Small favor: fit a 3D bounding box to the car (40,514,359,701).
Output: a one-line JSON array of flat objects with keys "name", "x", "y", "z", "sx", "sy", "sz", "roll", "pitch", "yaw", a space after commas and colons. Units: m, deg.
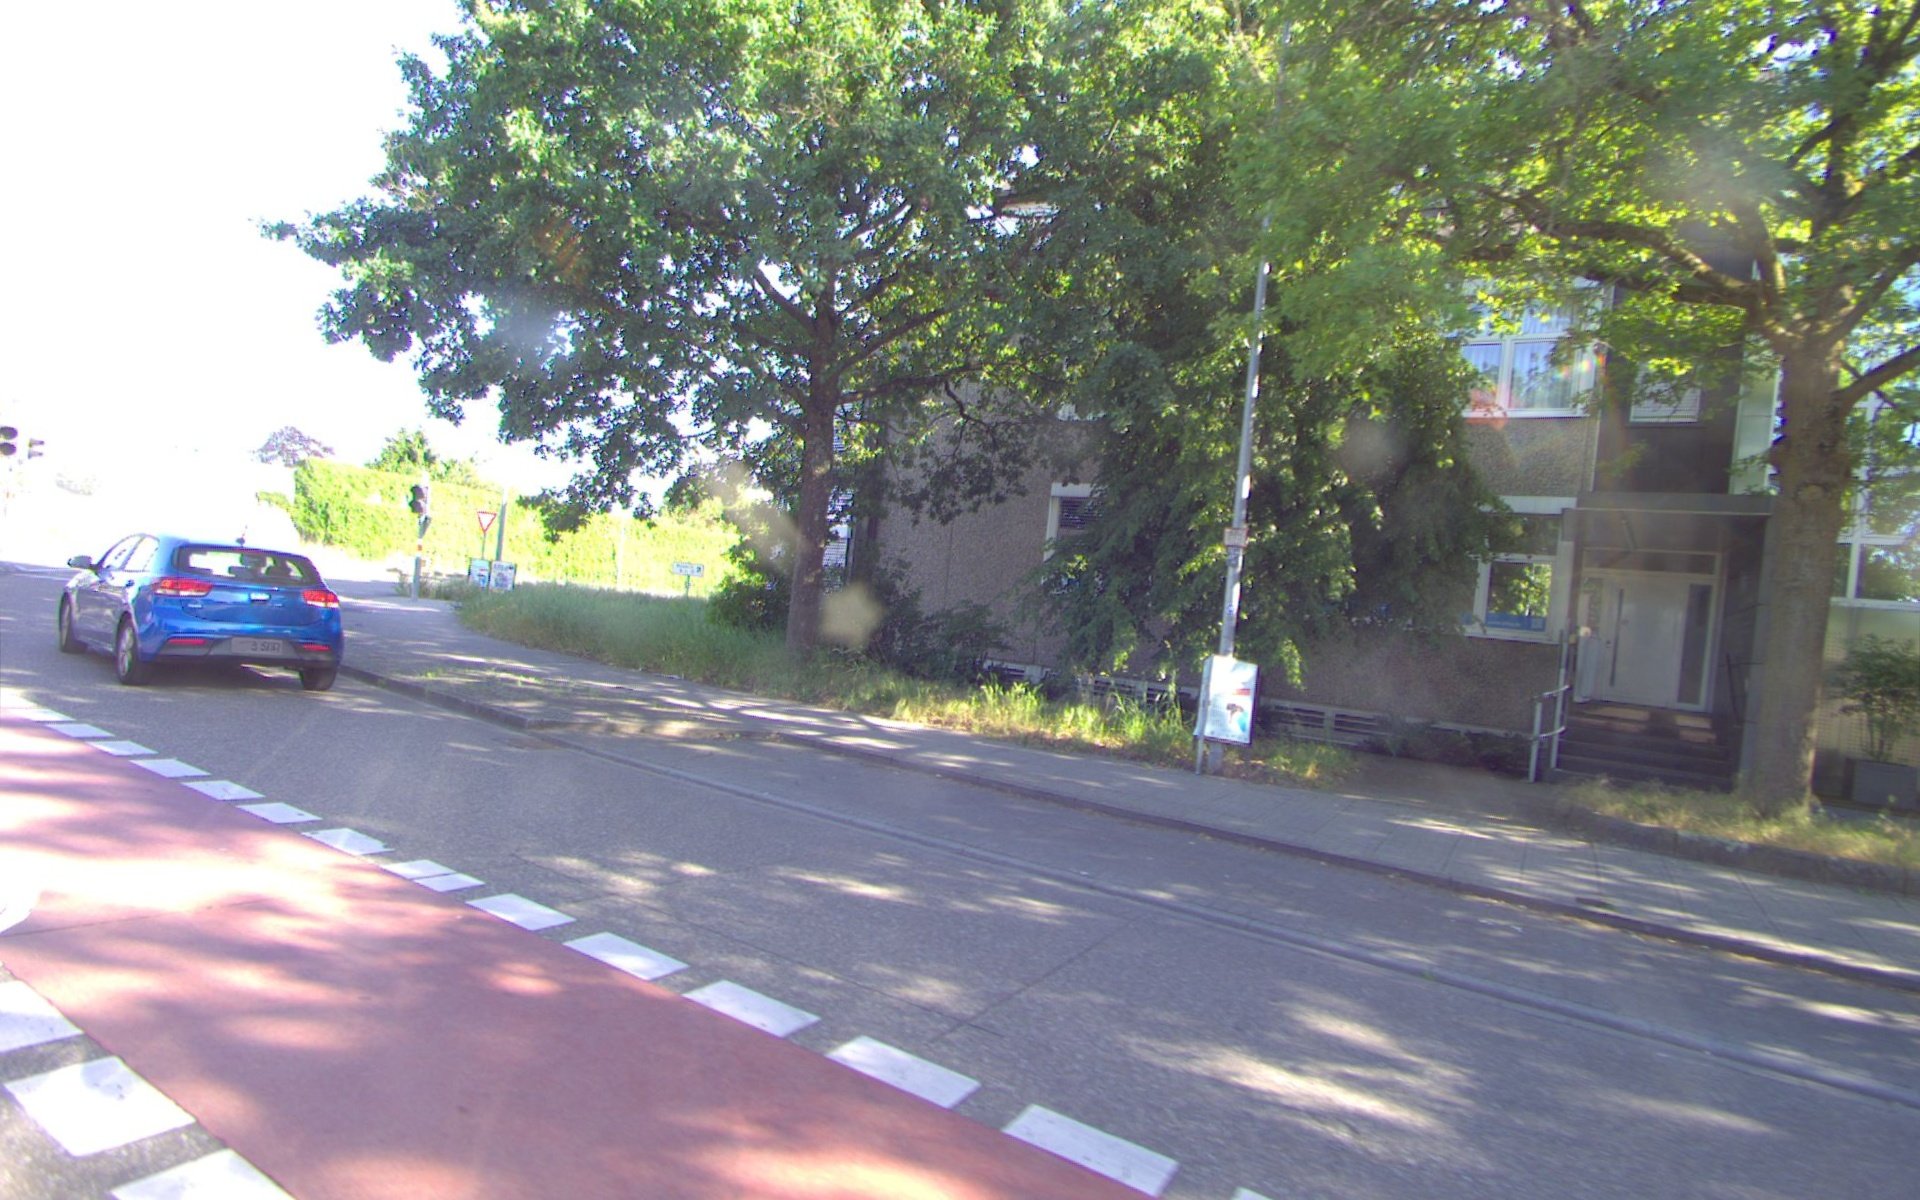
[{"name": "car", "x": -8.073, "y": 0.027, "z": 10.566, "sx": 3.883, "sy": 1.486, "sz": 1.649, "roll": 6, "pitch": -2, "yaw": 38}]
